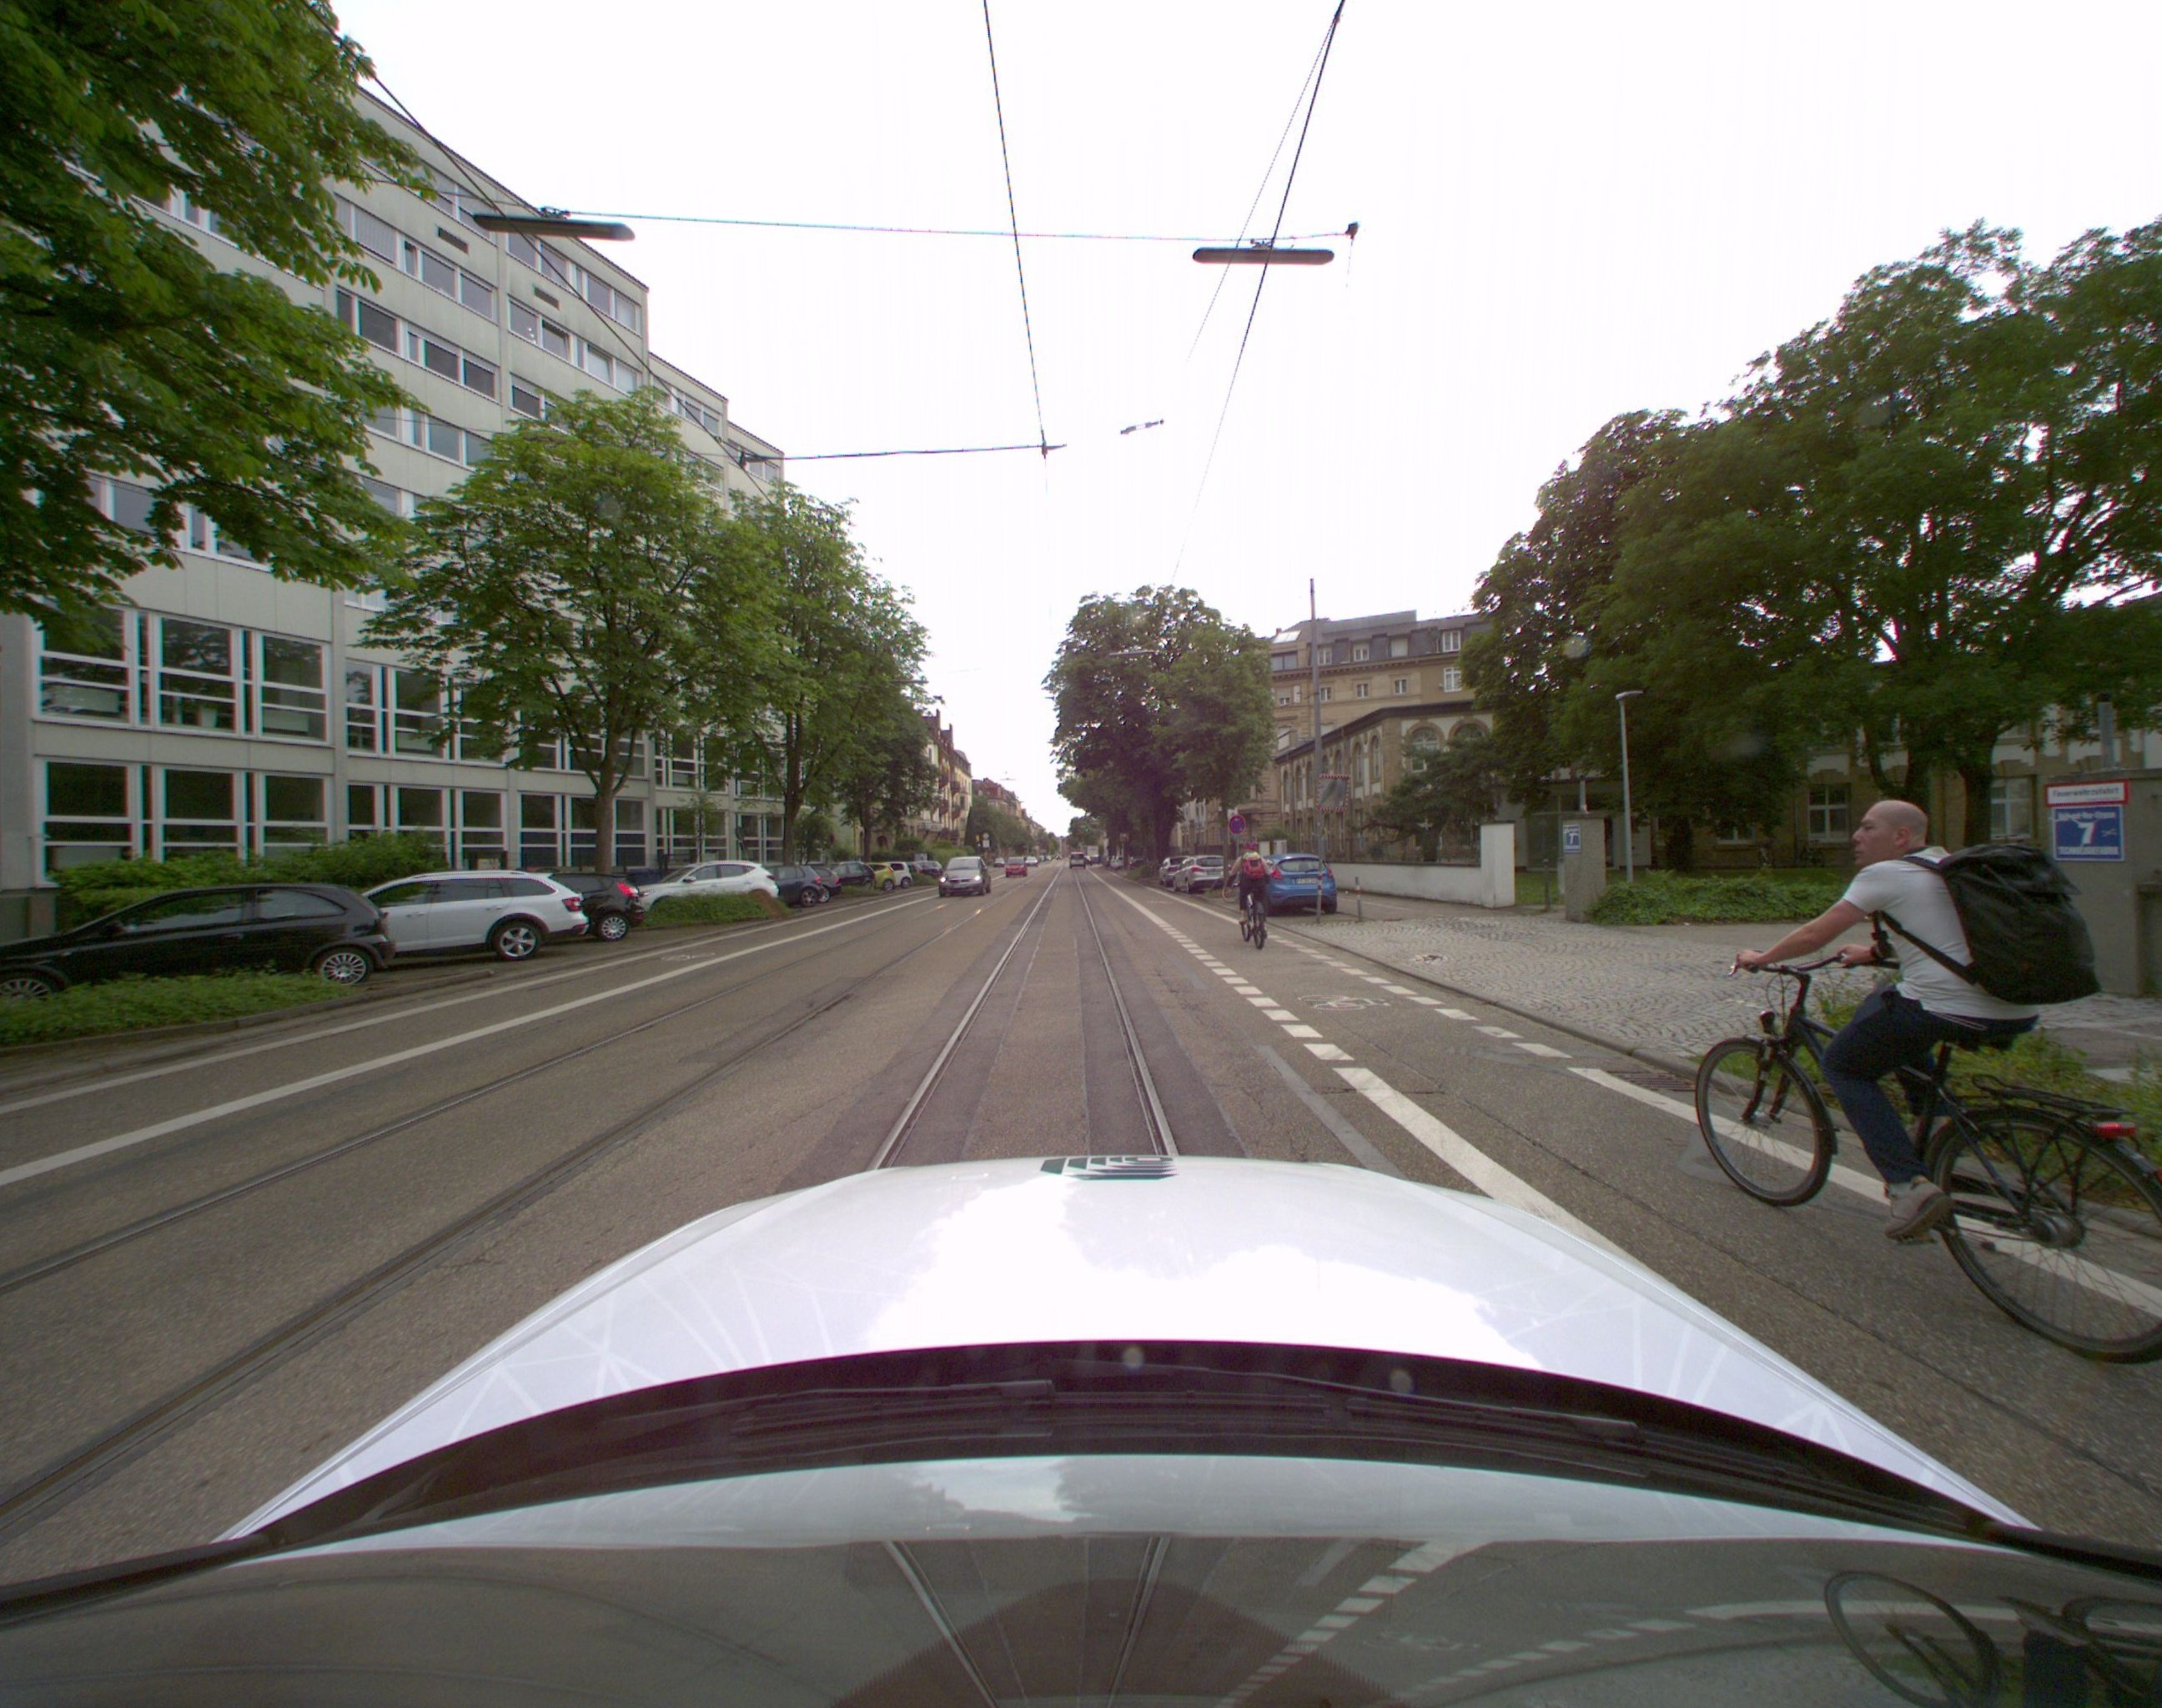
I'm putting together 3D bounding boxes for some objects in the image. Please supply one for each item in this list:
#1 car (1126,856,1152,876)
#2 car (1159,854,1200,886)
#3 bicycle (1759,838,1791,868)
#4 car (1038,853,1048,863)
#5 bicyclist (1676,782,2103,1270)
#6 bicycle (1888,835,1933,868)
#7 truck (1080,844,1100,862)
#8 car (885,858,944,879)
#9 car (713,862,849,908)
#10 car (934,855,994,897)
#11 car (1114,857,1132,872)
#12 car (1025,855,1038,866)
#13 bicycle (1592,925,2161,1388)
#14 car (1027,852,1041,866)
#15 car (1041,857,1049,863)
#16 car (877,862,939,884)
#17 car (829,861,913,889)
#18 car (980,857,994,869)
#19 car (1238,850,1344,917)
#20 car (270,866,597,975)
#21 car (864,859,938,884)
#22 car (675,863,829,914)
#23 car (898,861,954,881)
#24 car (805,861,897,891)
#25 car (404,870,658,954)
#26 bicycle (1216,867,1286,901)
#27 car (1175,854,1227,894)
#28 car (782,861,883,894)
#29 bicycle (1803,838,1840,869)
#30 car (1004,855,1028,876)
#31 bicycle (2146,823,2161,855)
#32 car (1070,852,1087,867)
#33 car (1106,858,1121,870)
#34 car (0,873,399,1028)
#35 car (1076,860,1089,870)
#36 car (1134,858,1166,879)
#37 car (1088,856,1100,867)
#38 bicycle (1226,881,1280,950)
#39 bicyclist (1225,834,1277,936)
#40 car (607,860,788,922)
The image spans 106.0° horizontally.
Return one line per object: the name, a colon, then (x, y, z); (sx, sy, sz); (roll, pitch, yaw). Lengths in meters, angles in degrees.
car: (4.383, 0.902, 61.854); (1.785, 1.399, 3.796); (-2, 0, 1)
car: (4.727, 0.756, 39.378); (1.471, 1.429, 3.563); (-2, 0, -1)
bicycle: (26.628, -0.045, 31.275); (0.611, 1.119, 2.235); (-2, 0, 32)
car: (-9.127, 1.043, 194.449); (2.199, 2.255, 3.998); (-2, 0, -1)
bicyclist: (2.967, 0.556, 3.121); (0.659, 1.569, 0.986); (-1, 0, 2)
bicycle: (30.023, -0.101, 29.505); (0.611, 1.119, 2.235); (-2, 0, 32)
truck: (2.040, -0.181, 193.855); (3.800, 4.029, 10.203); (-2, 0, -4)
car: (-11.530, 0.983, 56.243); (3.726, 1.386, 1.686); (0, 0, -25)
car: (-10.866, 1.062, 29.748); (1.678, 1.535, 4.372); (0, 0, 44)
car: (-4.719, 0.843, 33.233); (1.895, 1.530, 3.752); (-3, 0, -1)
car: (4.201, 1.010, 80.939); (1.661, 1.399, 3.662); (-2, 0, 1)
car: (-7.008, 0.906, 114.975); (1.737, 1.429, 3.994); (-2, 0, -4)
bicycle: (2.936, 0.929, 3.214); (0.662, 1.117, 1.866); (0, 0, -1)
car: (-8.663, 0.965, 150.245); (2.196, 2.417, 4.003); (-2, 0, 3)
car: (-9.917, 1.560, 224.529); (1.765, 1.643, 3.569); (-2, 0, 3)
car: (-11.338, 1.202, 53.392); (3.726, 1.386, 1.686); (0, 0, -25)
car: (-10.923, 1.075, 42.572); (1.678, 1.352, 3.992); (0, 0, 44)
car: (-17.921, 1.654, 155.087); (2.170, 2.207, 4.218); (-2, 0, 0)
car: (5.126, 0.677, 20.320); (1.669, 1.460, 3.431); (-2, 0, -1)
car: (-10.518, 0.979, 13.551); (4.048, 1.484, 1.680); (0, 0, -39)
car: (-10.511, 1.006, 47.754); (1.678, 1.352, 3.992); (0, 0, 44)
car: (-10.615, 1.055, 26.501); (1.678, 1.454, 4.372); (0, 0, 44)
car: (-11.271, 1.183, 59.129); (3.726, 1.386, 1.686); (0, 0, -25)
car: (-11.129, 1.046, 39.527); (1.678, 1.352, 3.992); (0, 0, 44)
car: (-10.868, 1.065, 16.277); (4.048, 1.405, 1.680); (0, 0, -39)
bicycle: (5.204, 0.907, 24.999); (2.009, 0.957, 0.533); (-2, 0, -5)
car: (4.713, 0.751, 32.302); (1.471, 1.481, 3.563); (-1, 0, -1)
car: (-11.017, 1.011, 36.230); (1.678, 1.352, 3.992); (0, 0, 44)
bicycle: (27.748, -0.030, 30.536); (0.611, 1.119, 2.235); (-2, 0, 32)
car: (-4.955, 0.846, 62.060); (1.672, 1.522, 2.780); (-1, -1, -2)
bicycle: (35.854, -0.484, 26.651); (0.391, 1.065, 1.839); (-1, 0, 24)
car: (-0.276, 0.638, 93.514); (1.805, 1.708, 3.700); (-1, -1, 2)
car: (4.031, 1.281, 101.076); (1.763, 1.399, 3.796); (-2, 0, 1)
car: (-10.858, 1.038, 9.954); (1.679, 1.524, 3.727); (0, 0, 45)
car: (0.244, 1.600, 123.678); (1.763, 1.399, 3.796); (-2, 0, 1)
car: (4.516, 0.929, 53.870); (1.866, 1.251, 4.001); (-2, 0, 1)
car: (2.231, 1.212, 137.714); (1.987, 1.794, 4.000); (-2, 0, 0)
bicycle: (2.839, 0.985, 13.627); (0.488, 0.979, 2.057); (0, 0, 1)
bicyclist: (2.802, 0.494, 13.485); (0.655, 1.610, 0.920); (-1, 0, 0)
car: (-10.816, 0.972, 23.223); (1.678, 1.556, 4.373); (0, 0, 40)
